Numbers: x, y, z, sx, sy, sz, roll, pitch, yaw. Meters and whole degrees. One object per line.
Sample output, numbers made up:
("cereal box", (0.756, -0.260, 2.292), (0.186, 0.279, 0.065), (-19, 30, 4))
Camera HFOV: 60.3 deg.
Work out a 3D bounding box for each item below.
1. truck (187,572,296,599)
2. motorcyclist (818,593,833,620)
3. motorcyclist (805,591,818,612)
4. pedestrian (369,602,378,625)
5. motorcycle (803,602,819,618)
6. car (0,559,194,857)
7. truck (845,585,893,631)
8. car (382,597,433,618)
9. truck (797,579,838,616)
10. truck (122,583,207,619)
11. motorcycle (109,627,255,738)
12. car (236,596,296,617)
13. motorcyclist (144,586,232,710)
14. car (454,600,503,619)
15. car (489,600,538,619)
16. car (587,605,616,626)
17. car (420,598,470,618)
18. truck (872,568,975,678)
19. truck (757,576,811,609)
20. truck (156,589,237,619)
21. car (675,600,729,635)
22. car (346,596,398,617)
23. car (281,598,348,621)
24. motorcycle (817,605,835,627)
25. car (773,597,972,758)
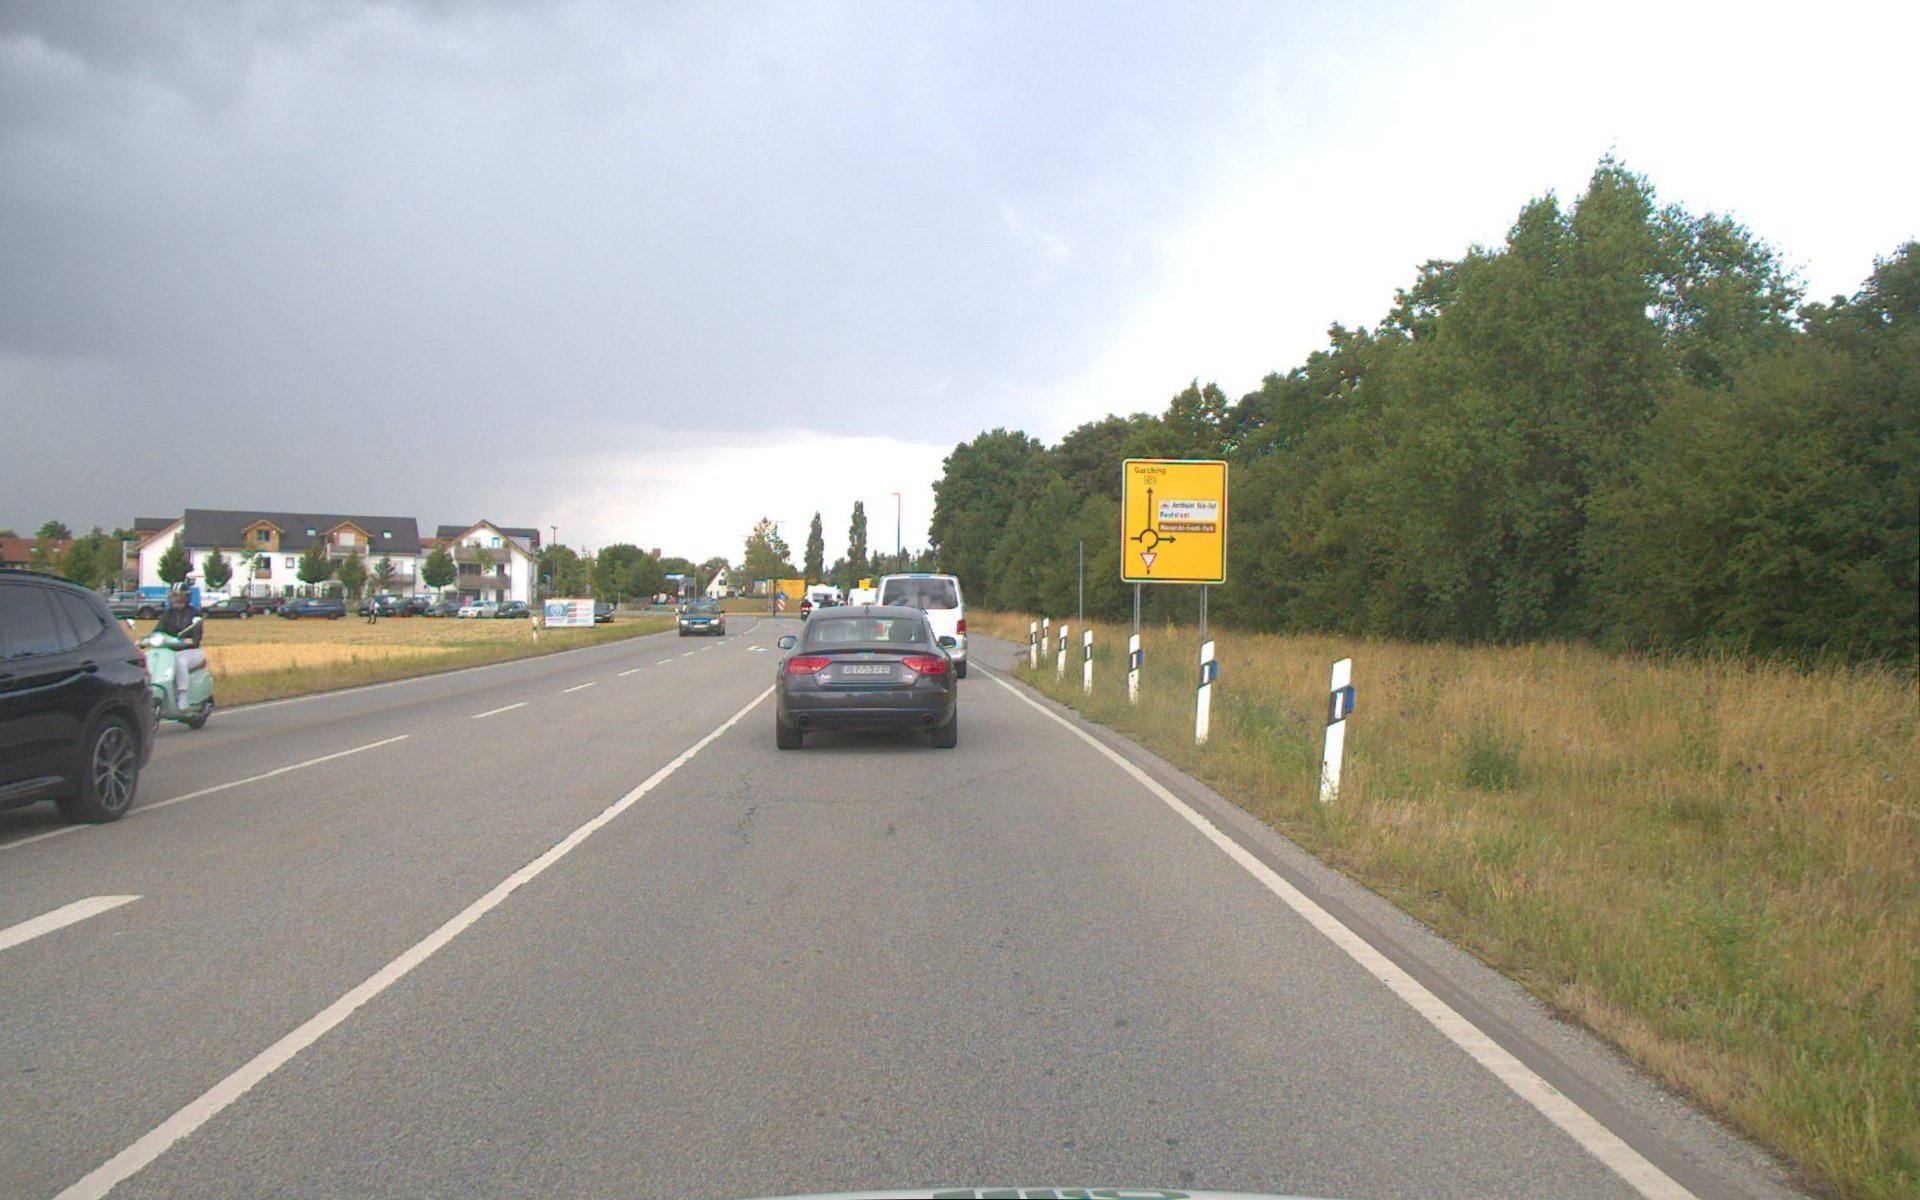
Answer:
("truck", (-69.847, -1.410, 160.972), (9.166, 2.574, 3.295), (0, 0, -7))
("motorcyclist", (-6.976, 0.330, 85.712), (0.757, 1.408, 0.819), (1, 0, -6))
("motorcyclist", (-9.880, 0.101, 110.106), (0.771, 1.380, 0.852), (0, 0, -10))
("pedestrian", (-40.231, 0.938, 113.445), (0.581, 1.583, 0.621), (0, 0, -23))
("motorcycle", (-9.920, 0.679, 110.165), (0.927, 1.037, 2.279), (0, 0, -10))
("car", (-6.508, 0.631, 9.774), (1.907, 1.724, 4.446), (0, 0, 0))
("truck", (-4.223, 0.359, 76.205), (2.150, 2.049, 5.081), (0, 0, -4))
("car", (-44.439, 0.590, 133.065), (1.951, 1.657, 4.215), (0, 0, 14))
("truck", (-11.103, -0.176, 128.825), (2.579, 2.785, 5.852), (1, 0, -11))
("truck", (-56.398, 0.114, 117.276), (5.383, 2.489, 2.373), (0, 0, -27))
("motorcycle", (-8.958, 0.921, 19.133), (0.711, 1.169, 2.024), (0, 0, 1))
("car", (-57.090, 0.563, 136.068), (4.565, 1.727, 1.985), (0, 0, -25))
("motorcyclist", (-8.960, 0.542, 19.223), (0.626, 1.408, 0.809), (0, 0, 0))
("car", (-38.586, 0.745, 132.636), (1.951, 1.471, 4.215), (0, 0, 14))
("car", (-35.724, 0.777, 132.450), (1.951, 1.471, 4.215), (0, 0, 14))
("car", (-26.217, 1.111, 120.854), (1.960, 1.467, 3.985), (0, 1, -15))
("car", (-41.317, 0.662, 132.844), (1.951, 1.562, 4.215), (0, 0, 14))
("truck", (-0.799, 0.431, 33.083), (1.866, 2.033, 4.625), (0, 0, -4))
("truck", (-20.359, -0.845, 190.753), (3.526, 3.641, 9.890), (1, 0, -22))
("truck", (-57.603, 0.327, 124.842), (5.499, 2.235, 2.584), (0, 0, -27))
("car", (-11.059, 0.729, 71.079), (1.790, 1.435, 4.421), (-1, 0, -3))
("car", (-47.995, 0.517, 135.050), (1.951, 1.657, 4.215), (0, 0, 14))
("car", (-48.740, 0.695, 124.890), (4.654, 1.727, 1.985), (0, 0, -25))
("motorcycle", (-6.982, 0.805, 85.868), (0.902, 1.113, 2.186), (1, 0, -5))
("car", (-0.968, 0.711, 17.443), (1.838, 1.479, 4.173), (0, 0, -4))
